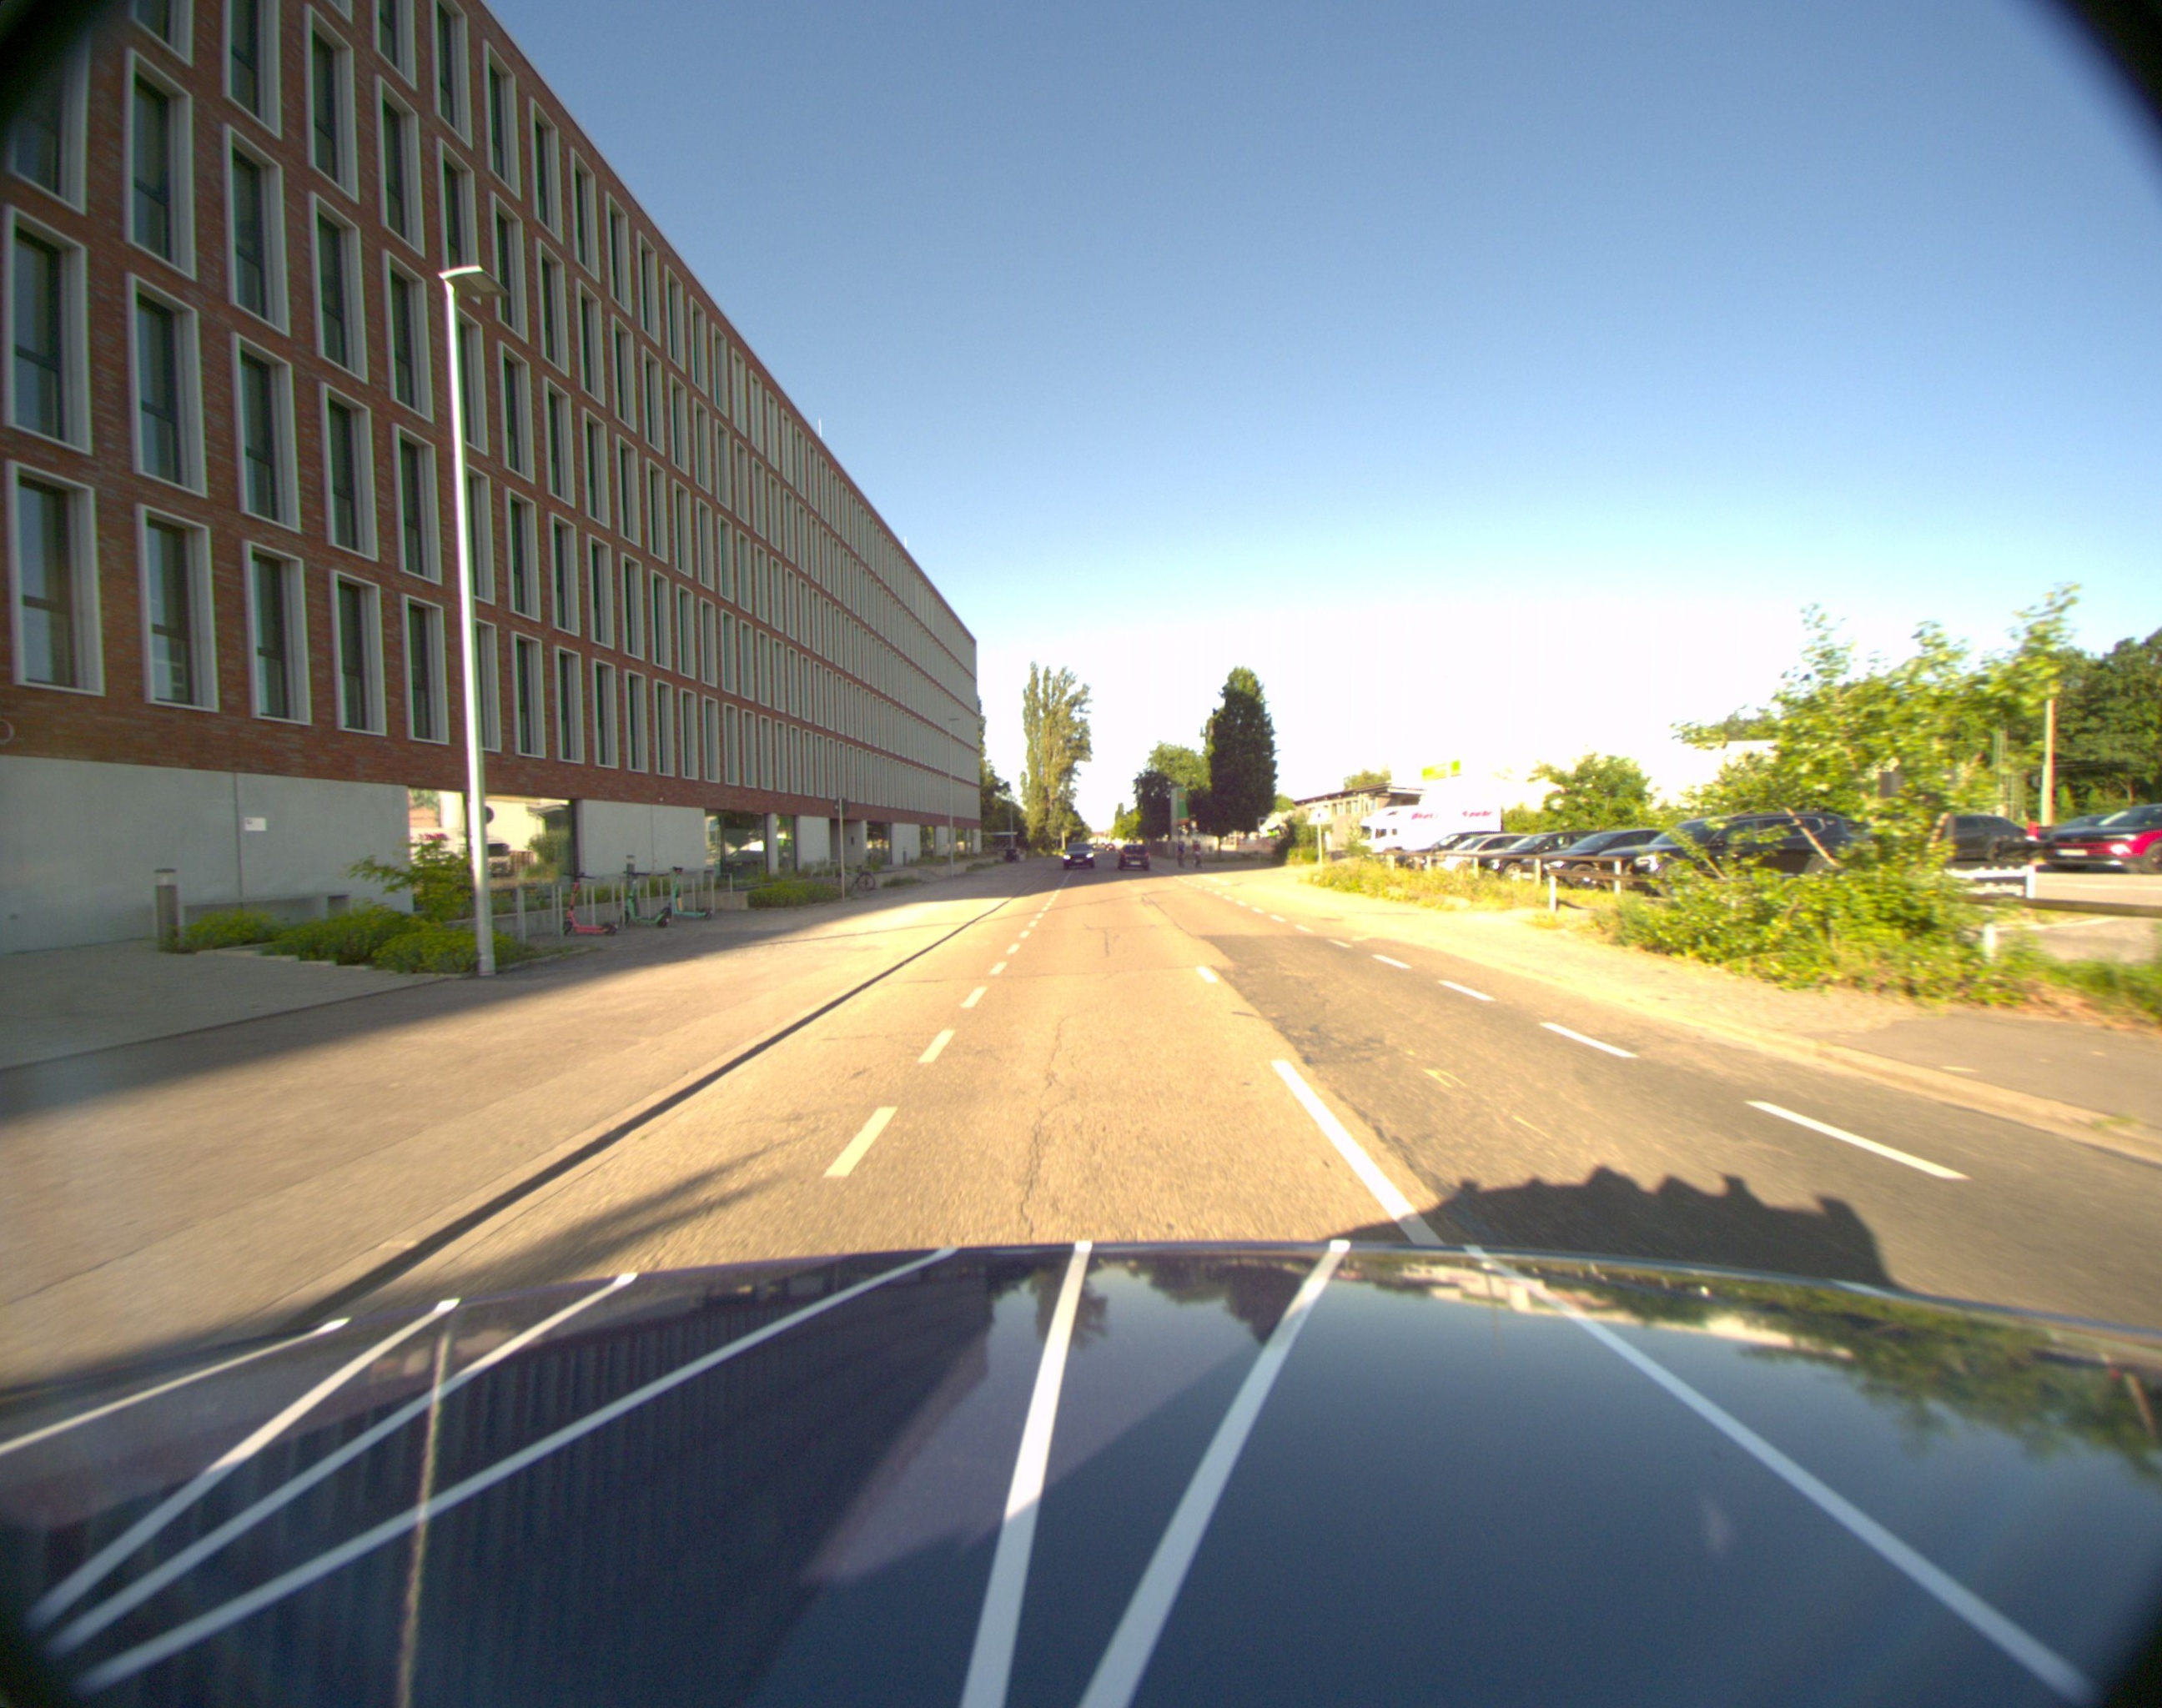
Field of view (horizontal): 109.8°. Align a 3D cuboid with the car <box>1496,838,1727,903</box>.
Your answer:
[{"bbox_3d":[13.349,0.378,19.358,4.439,1.453,2.048,-2,1,2],"label":"car"}]

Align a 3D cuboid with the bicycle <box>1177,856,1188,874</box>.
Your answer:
[{"bbox_3d":[6.781,0.708,50.975,0.447,1.142,2.200,-3,1,1],"label":"bicycle"}]

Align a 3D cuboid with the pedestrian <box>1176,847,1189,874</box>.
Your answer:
[{"bbox_3d":[6.773,0.425,50.777,0.722,1.711,1.057,-1,2,1],"label":"pedestrian"}]

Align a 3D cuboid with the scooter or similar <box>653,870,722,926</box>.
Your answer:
[{"bbox_3d":[-8.919,0.989,17.227,1.343,1.238,0.424,-1,1,5],"label":"scooter or similar"}]

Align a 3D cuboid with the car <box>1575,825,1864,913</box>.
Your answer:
[{"bbox_3d":[13.557,0.294,16.377,4.439,1.660,2.048,-2,1,2],"label":"car"}]

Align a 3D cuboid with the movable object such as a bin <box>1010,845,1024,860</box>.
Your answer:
[{"bbox_3d":[-5.998,-0.156,71.340,1.131,1.364,1.345,-1,1,0],"label":"movable object such as a bin"}]

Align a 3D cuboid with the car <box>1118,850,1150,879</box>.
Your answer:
[{"bbox_3d":[3.032,0.551,43.848,1.658,1.495,3.999,0,2,1],"label":"car"}]

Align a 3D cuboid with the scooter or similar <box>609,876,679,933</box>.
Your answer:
[{"bbox_3d":[-8.992,1.039,15.651,1.245,1.149,0.366,-1,1,5],"label":"scooter or similar"}]

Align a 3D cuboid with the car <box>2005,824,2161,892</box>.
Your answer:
[{"bbox_3d":[24.179,0.030,17.212,4.172,1.389,2.047,-2,1,-2],"label":"car"}]

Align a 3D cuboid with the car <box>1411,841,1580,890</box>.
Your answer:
[{"bbox_3d":[13.619,0.343,25.184,4.439,1.453,2.048,-2,1,2],"label":"car"}]

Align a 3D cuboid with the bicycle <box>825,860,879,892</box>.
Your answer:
[{"bbox_3d":[-8.736,0.839,28.996,1.937,1.163,0.375,0,2,-5],"label":"bicycle"}]

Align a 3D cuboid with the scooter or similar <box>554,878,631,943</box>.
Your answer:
[{"bbox_3d":[-9.118,1.050,14.190,1.245,1.188,0.340,-1,1,5],"label":"scooter or similar"}]

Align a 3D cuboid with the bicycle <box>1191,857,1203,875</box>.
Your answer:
[{"bbox_3d":[7.745,0.812,50.826,0.471,1.142,1.869,-3,1,1],"label":"bicycle"}]

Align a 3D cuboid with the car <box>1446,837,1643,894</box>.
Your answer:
[{"bbox_3d":[13.246,0.303,21.949,4.439,1.453,2.048,-2,1,2],"label":"car"}]

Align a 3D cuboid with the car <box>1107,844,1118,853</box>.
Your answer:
[{"bbox_3d":[5.253,-0.918,126.965,1.745,1.517,4.111,2,1,0],"label":"car"}]

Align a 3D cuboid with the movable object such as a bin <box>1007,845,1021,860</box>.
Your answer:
[{"bbox_3d":[-6.094,-0.140,69.658,1.131,1.328,1.345,-1,1,0],"label":"movable object such as a bin"}]

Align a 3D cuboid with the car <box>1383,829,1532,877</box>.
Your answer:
[{"bbox_3d":[13.679,-0.059,27.826,4.439,1.572,2.048,-2,1,2],"label":"car"}]

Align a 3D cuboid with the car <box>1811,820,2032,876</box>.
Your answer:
[{"bbox_3d":[24.717,-0.195,22.459,4.414,1.457,2.047,-2,1,-2],"label":"car"}]

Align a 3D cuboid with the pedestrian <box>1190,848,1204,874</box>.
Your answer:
[{"bbox_3d":[7.769,0.452,50.879,0.722,1.711,1.057,-1,2,1],"label":"pedestrian"}]

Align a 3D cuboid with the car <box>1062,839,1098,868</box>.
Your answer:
[{"bbox_3d":[-0.031,-0.075,49.641,1.998,1.609,4.000,-5,1,3],"label":"car"}]

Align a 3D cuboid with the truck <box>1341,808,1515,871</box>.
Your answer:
[{"bbox_3d":[22.724,-0.967,50.025,10.124,3.594,2.775,-2,2,0],"label":"truck"}]
